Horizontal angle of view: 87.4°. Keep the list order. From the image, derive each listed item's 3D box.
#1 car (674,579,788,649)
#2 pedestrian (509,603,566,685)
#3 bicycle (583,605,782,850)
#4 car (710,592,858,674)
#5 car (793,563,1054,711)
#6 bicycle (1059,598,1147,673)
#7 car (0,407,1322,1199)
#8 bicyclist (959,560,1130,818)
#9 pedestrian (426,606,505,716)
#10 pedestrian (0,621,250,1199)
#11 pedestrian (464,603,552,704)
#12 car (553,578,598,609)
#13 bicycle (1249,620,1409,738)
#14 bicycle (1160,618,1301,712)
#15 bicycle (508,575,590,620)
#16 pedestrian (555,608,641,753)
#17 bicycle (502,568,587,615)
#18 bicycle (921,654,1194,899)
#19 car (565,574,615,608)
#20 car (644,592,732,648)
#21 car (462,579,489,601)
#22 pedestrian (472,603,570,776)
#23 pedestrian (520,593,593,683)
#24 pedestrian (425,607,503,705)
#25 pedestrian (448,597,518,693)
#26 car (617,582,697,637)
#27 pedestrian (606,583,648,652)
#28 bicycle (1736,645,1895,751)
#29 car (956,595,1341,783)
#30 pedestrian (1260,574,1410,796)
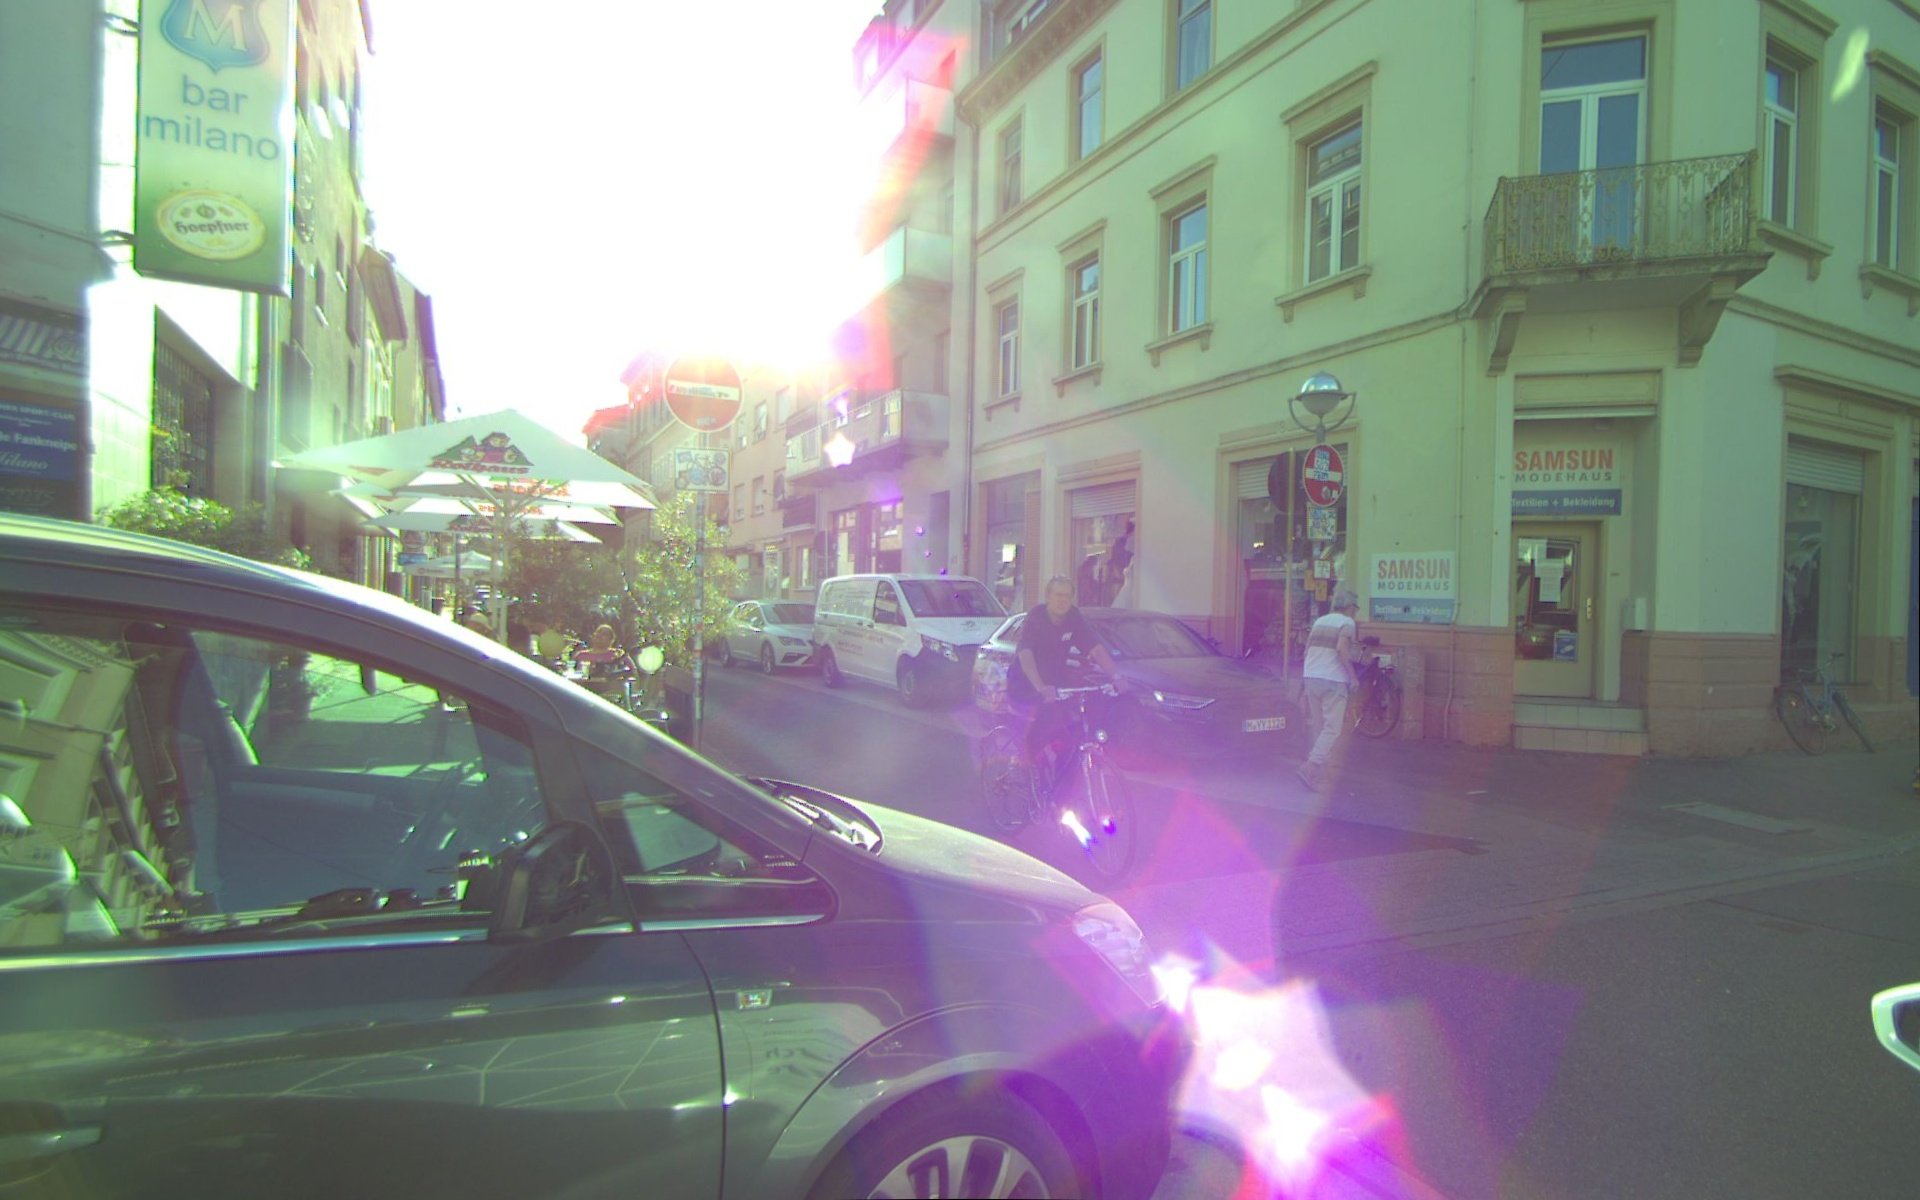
[{"bbox_3d":[-5.892,0.302,25.473,1.749,1.590,4.379,1,1,-28],"label":"car"},{"bbox_3d":[-5.810,0.605,13.834,0.668,1.068,0.720,2,1,-23],"label":"pedestrian"},{"bbox_3d":[-2.055,0.758,7.117,0.916,1.377,2.467,2,0,-25],"label":"bicycle"},{"bbox_3d":[-3.691,0.611,20.560,1.738,1.429,3.934,1,1,-30],"label":"car"},{"bbox_3d":[-0.789,0.434,15.431,1.835,1.875,5.060,1,1,-30],"label":"car"},{"bbox_3d":[2.388,0.578,17.034,0.603,1.137,1.918,2,1,-20],"label":"bicycle"},{"bbox_3d":[-1.457,0.615,1.826,4.115,1.627,1.715,1,-1,-29],"label":"car"},{"bbox_3d":[0.503,0.507,6.168,0.701,1.455,0.784,1,0,-28],"label":"bicyclist"},{"bbox_3d":[-5.518,0.672,11.240,0.670,1.170,0.657,2,1,-18],"label":"pedestrian"},{"bbox_3d":[-2.473,0.920,2.821,0.572,1.666,0.627,3,1,-21],"label":"pedestrian"},{"bbox_3d":[-5.475,0.631,12.199,0.647,1.160,0.689,3,1,17],"label":"pedestrian"},{"bbox_3d":[-21.676,-0.387,56.517,1.751,1.590,4.123,1,1,-30],"label":"car"},{"bbox_3d":[4.241,0.875,11.721,0.603,1.164,1.918,2,1,-20],"label":"bicycle"},{"bbox_3d":[3.631,0.846,13.661,0.606,1.085,1.910,2,1,-32],"label":"bicycle"},{"bbox_3d":[-10.621,-0.068,25.985,1.900,1.085,0.609,2,1,-23],"label":"bicycle"},{"bbox_3d":[-3.468,0.742,9.592,0.696,1.283,0.846,2,1,-23],"label":"pedestrian"},{"bbox_3d":[-10.415,-0.206,25.229,1.900,1.085,0.609,2,1,-23],"label":"bicycle"},{"bbox_3d":[0.501,0.954,6.131,0.701,1.126,1.920,1,0,-28],"label":"bicycle"},{"bbox_3d":[-19.402,-0.475,52.583,1.751,1.674,4.123,1,1,-30],"label":"car"},{"bbox_3d":[-7.947,0.548,29.163,1.580,1.458,3.555,1,1,-30],"label":"car"},{"bbox_3d":[-36.508,-0.773,75.660,1.749,1.596,4.127,1,1,-27],"label":"car"},{"bbox_3d":[-3.488,0.685,8.012,0.651,1.283,0.684,2,1,-23],"label":"pedestrian"},{"bbox_3d":[-6.047,0.560,15.085,0.709,1.283,0.680,3,1,16],"label":"pedestrian"},{"bbox_3d":[-6.222,0.683,12.617,0.647,1.160,0.542,3,1,17],"label":"pedestrian"},{"bbox_3d":[-6.696,0.619,14.126,0.602,1.283,0.660,2,1,3],"label":"pedestrian"},{"bbox_3d":[-10.484,0.299,34.584,1.751,1.736,4.123,1,1,-30],"label":"car"},{"bbox_3d":[-8.382,0.431,25.277,0.818,1.673,0.736,2,1,-29],"label":"pedestrian"},{"bbox_3d":[9.416,1.063,11.045,1.795,1.036,0.601,3,4,-27],"label":"bicycle"},{"bbox_3d":[1.700,0.739,10.481,1.737,1.475,4.122,1,1,-28],"label":"car"},{"bbox_3d":[3.126,0.667,8.417,0.854,1.725,0.691,-1,6,-27],"label":"pedestrian"}]
